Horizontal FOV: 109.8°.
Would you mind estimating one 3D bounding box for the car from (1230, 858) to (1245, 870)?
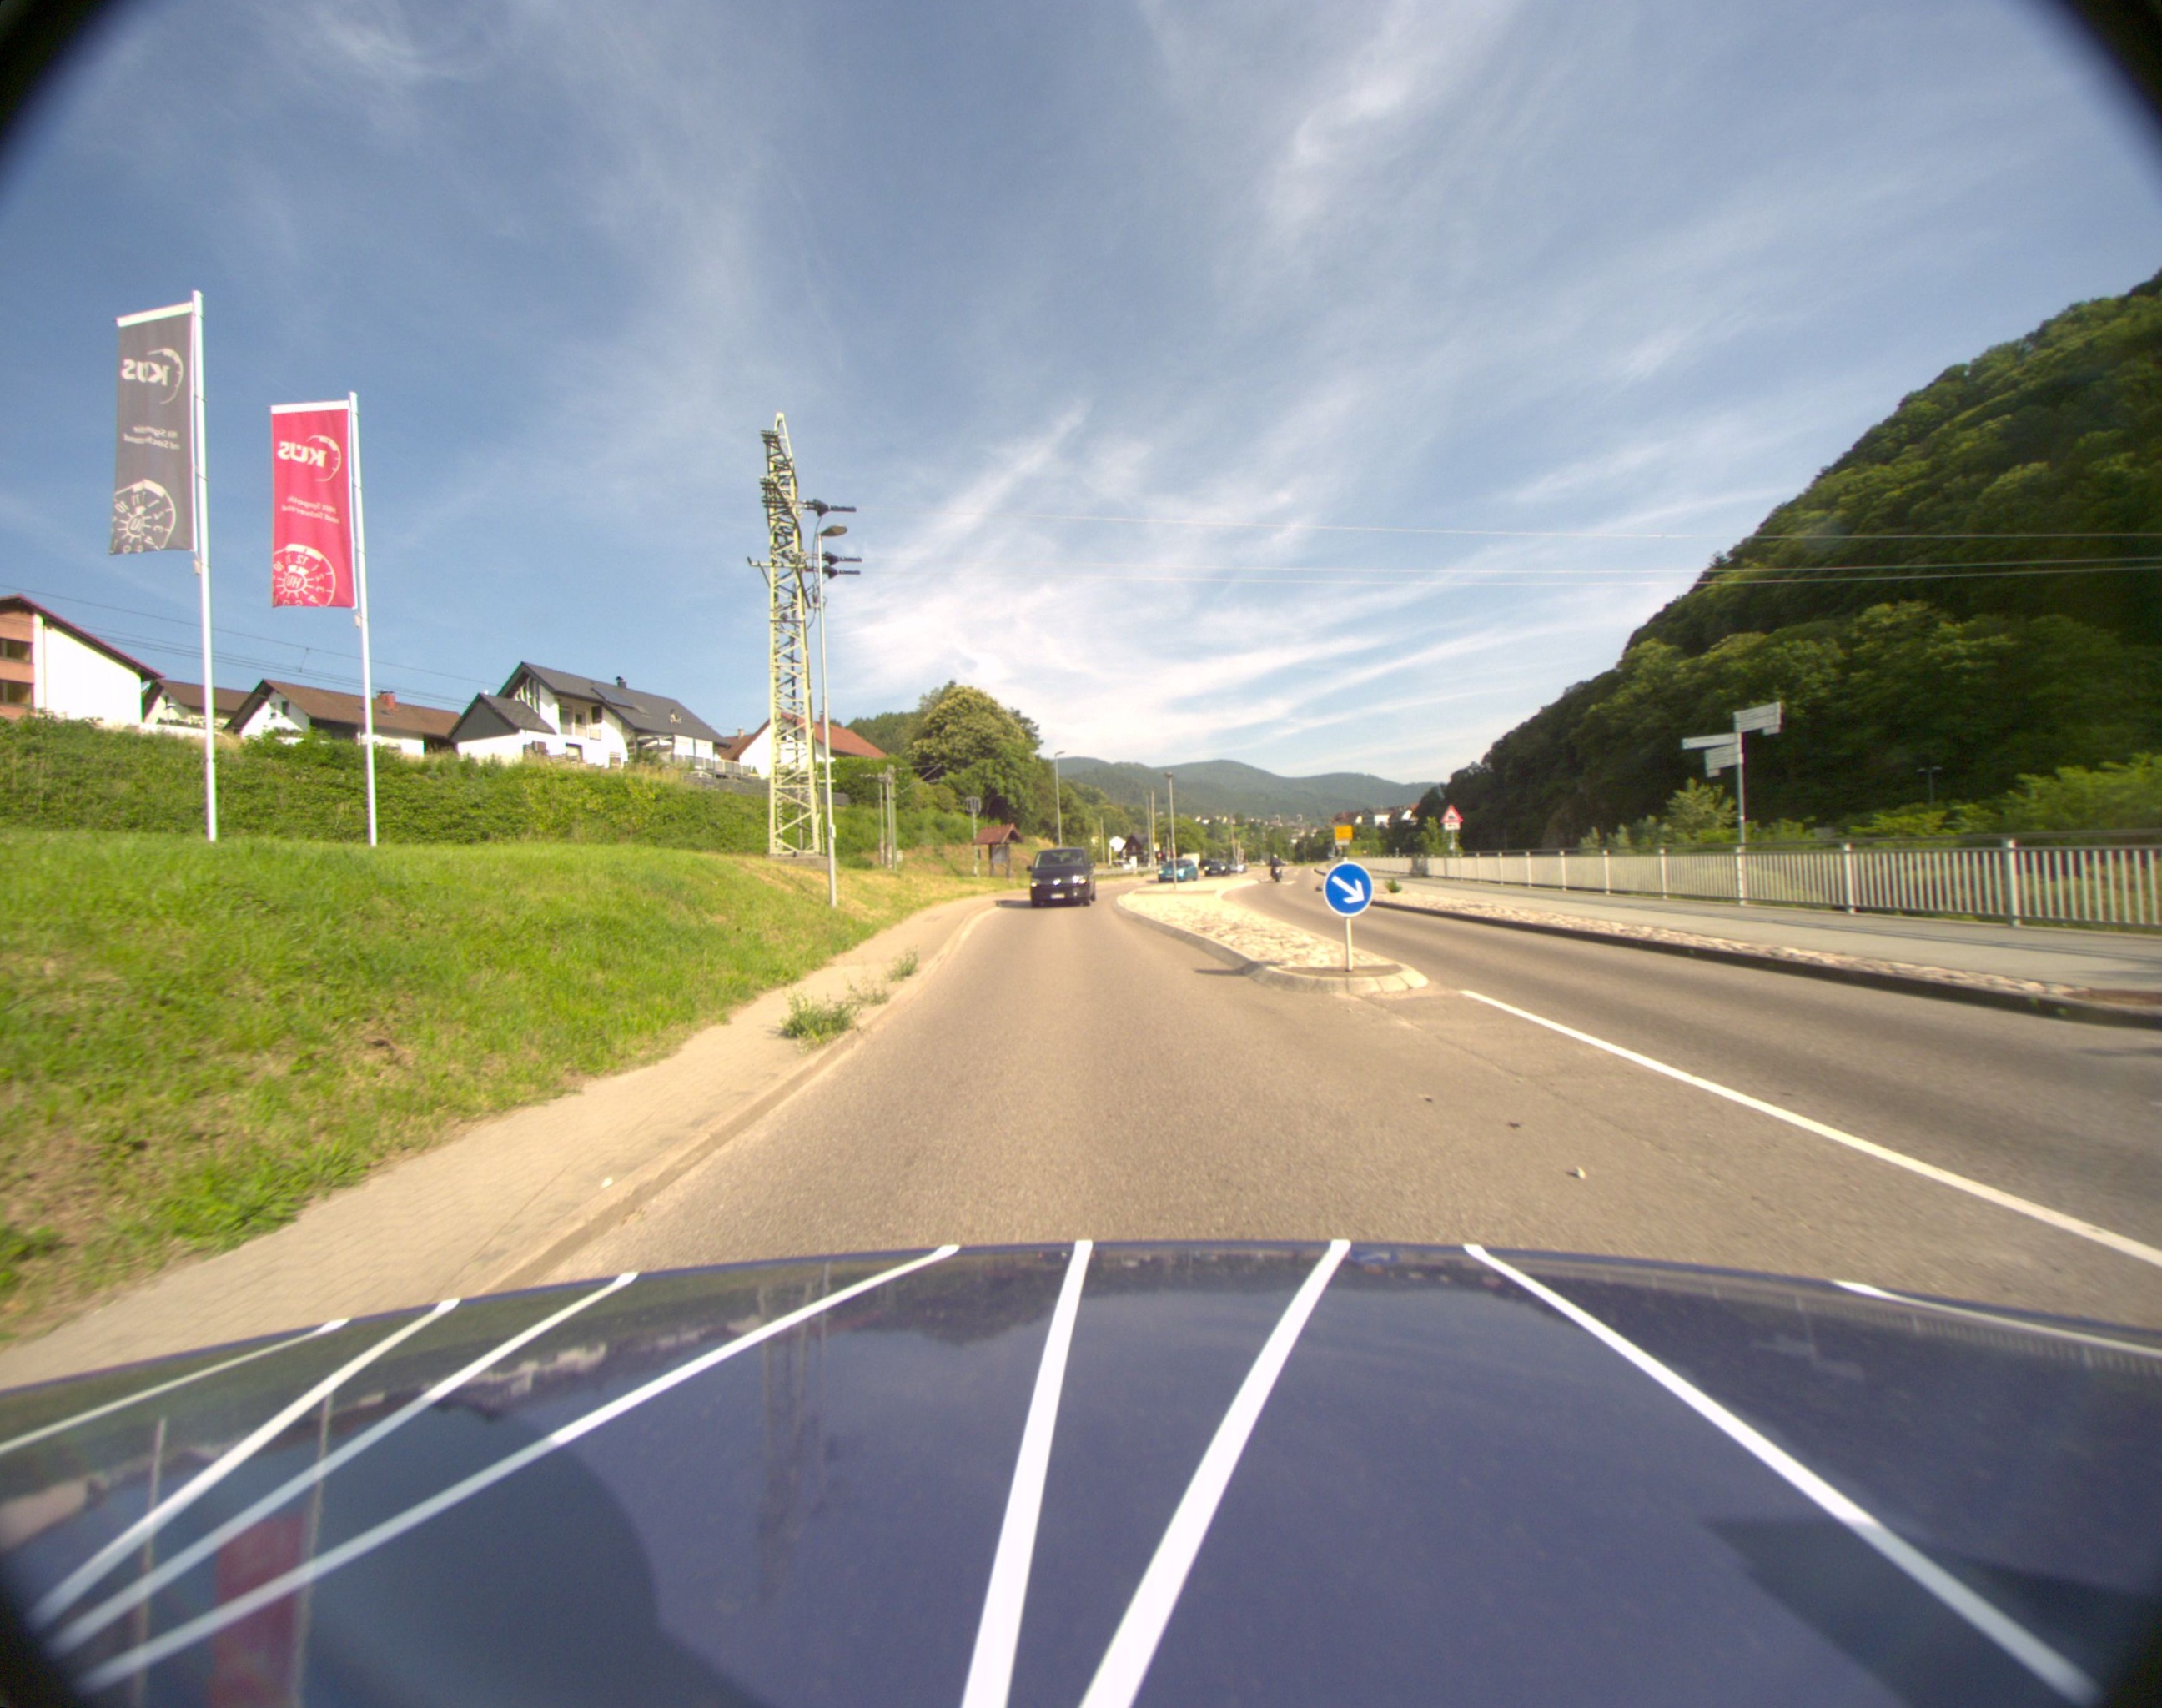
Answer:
[{"bbox_3d":[16.282,1.077,79.057,1.271,1.170,3.126,-4,-2,14],"label":"car"}]

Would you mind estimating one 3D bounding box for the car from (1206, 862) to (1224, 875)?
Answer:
[{"bbox_3d":[11.588,1.244,65.772,1.303,0.963,3.209,-4,-2,13],"label":"car"}]

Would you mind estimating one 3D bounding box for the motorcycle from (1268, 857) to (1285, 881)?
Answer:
[{"bbox_3d":[11.953,0.885,46.463,0.774,1.414,2.320,-2,0,10],"label":"motorcycle"}]

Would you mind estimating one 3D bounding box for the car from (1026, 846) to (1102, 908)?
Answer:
[{"bbox_3d":[-0.484,0.716,26.024,1.864,1.936,4.641,0,0,8],"label":"car"}]

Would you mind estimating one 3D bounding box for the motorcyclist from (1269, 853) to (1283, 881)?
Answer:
[{"bbox_3d":[11.943,0.765,46.534,0.764,1.668,0.727,-2,1,11],"label":"motorcyclist"}]

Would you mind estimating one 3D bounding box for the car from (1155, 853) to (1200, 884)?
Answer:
[{"bbox_3d":[6.479,0.927,50.488,1.880,1.728,4.521,-3,1,21],"label":"car"}]
